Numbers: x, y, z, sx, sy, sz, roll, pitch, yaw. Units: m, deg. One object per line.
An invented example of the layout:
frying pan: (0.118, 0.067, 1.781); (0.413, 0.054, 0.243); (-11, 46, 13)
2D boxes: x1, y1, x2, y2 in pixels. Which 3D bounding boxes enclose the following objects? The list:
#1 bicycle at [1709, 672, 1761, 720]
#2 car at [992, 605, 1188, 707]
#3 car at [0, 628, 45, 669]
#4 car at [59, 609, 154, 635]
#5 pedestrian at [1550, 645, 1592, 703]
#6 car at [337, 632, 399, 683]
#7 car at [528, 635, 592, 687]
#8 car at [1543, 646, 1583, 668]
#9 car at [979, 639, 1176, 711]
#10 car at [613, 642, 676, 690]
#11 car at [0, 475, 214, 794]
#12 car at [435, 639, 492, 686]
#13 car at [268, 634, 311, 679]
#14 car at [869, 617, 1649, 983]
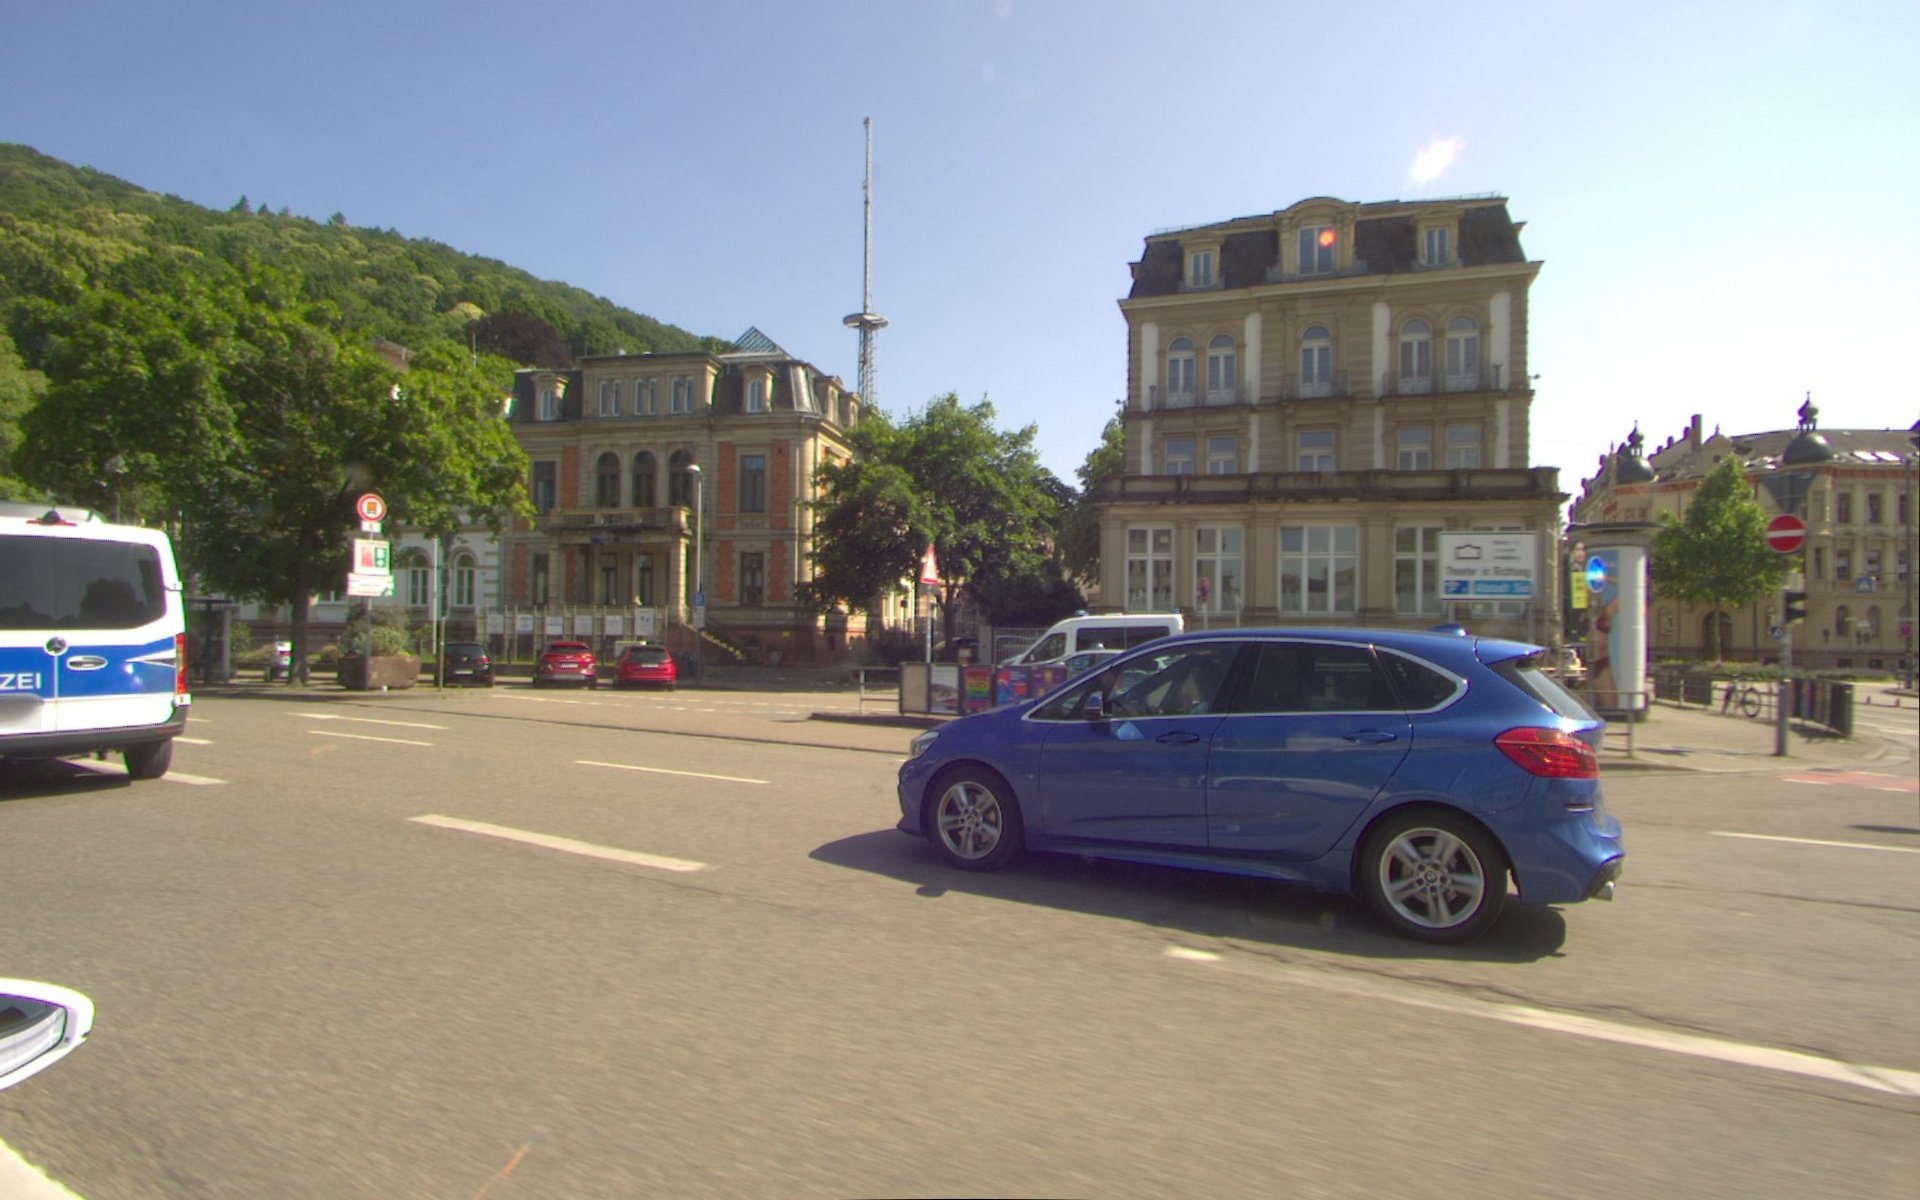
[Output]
bicycle: (19.852, 2.439, 25.684); (0.496, 1.113, 1.818); (0, -1, 19)
car: (3.657, 1.524, 27.992); (5.217, 2.636, 2.000); (1, -2, 12)
car: (-36.907, 1.813, 38.157); (1.799, 1.480, 4.093); (2, -2, -25)
car: (-54.466, 1.407, 63.968); (1.789, 1.624, 4.316); (0, -1, 18)
pedestrian: (18.793, 2.262, 30.798); (0.737, 1.762, 0.820); (1, -1, -14)
car: (-20.463, 1.938, 34.724); (1.689, 1.650, 4.295); (2, -2, -29)
car: (-13.335, 1.987, 33.277); (1.723, 1.595, 3.864); (2, -2, -25)
car: (45.966, 4.313, 76.427); (1.848, 1.628, 3.862); (0, -2, 19)
car: (3.004, 1.850, 25.415); (4.787, 1.647, 1.822); (1, -2, 11)
car: (-10.218, 2.087, 32.279); (1.720, 1.436, 3.692); (2, -2, -21)
car: (-9.376, 0.332, 9.731); (4.865, 2.540, 2.067); (-1, -2, 37)
car: (-16.526, 2.051, 33.448); (1.581, 1.435, 3.807); (2, -2, -25)
car: (-23.694, 1.979, 35.378); (1.186, 1.501, 2.273); (2, -2, -35)
car: (1.649, 0.931, 6.198); (4.210, 1.560, 1.717); (0, -3, 32)
